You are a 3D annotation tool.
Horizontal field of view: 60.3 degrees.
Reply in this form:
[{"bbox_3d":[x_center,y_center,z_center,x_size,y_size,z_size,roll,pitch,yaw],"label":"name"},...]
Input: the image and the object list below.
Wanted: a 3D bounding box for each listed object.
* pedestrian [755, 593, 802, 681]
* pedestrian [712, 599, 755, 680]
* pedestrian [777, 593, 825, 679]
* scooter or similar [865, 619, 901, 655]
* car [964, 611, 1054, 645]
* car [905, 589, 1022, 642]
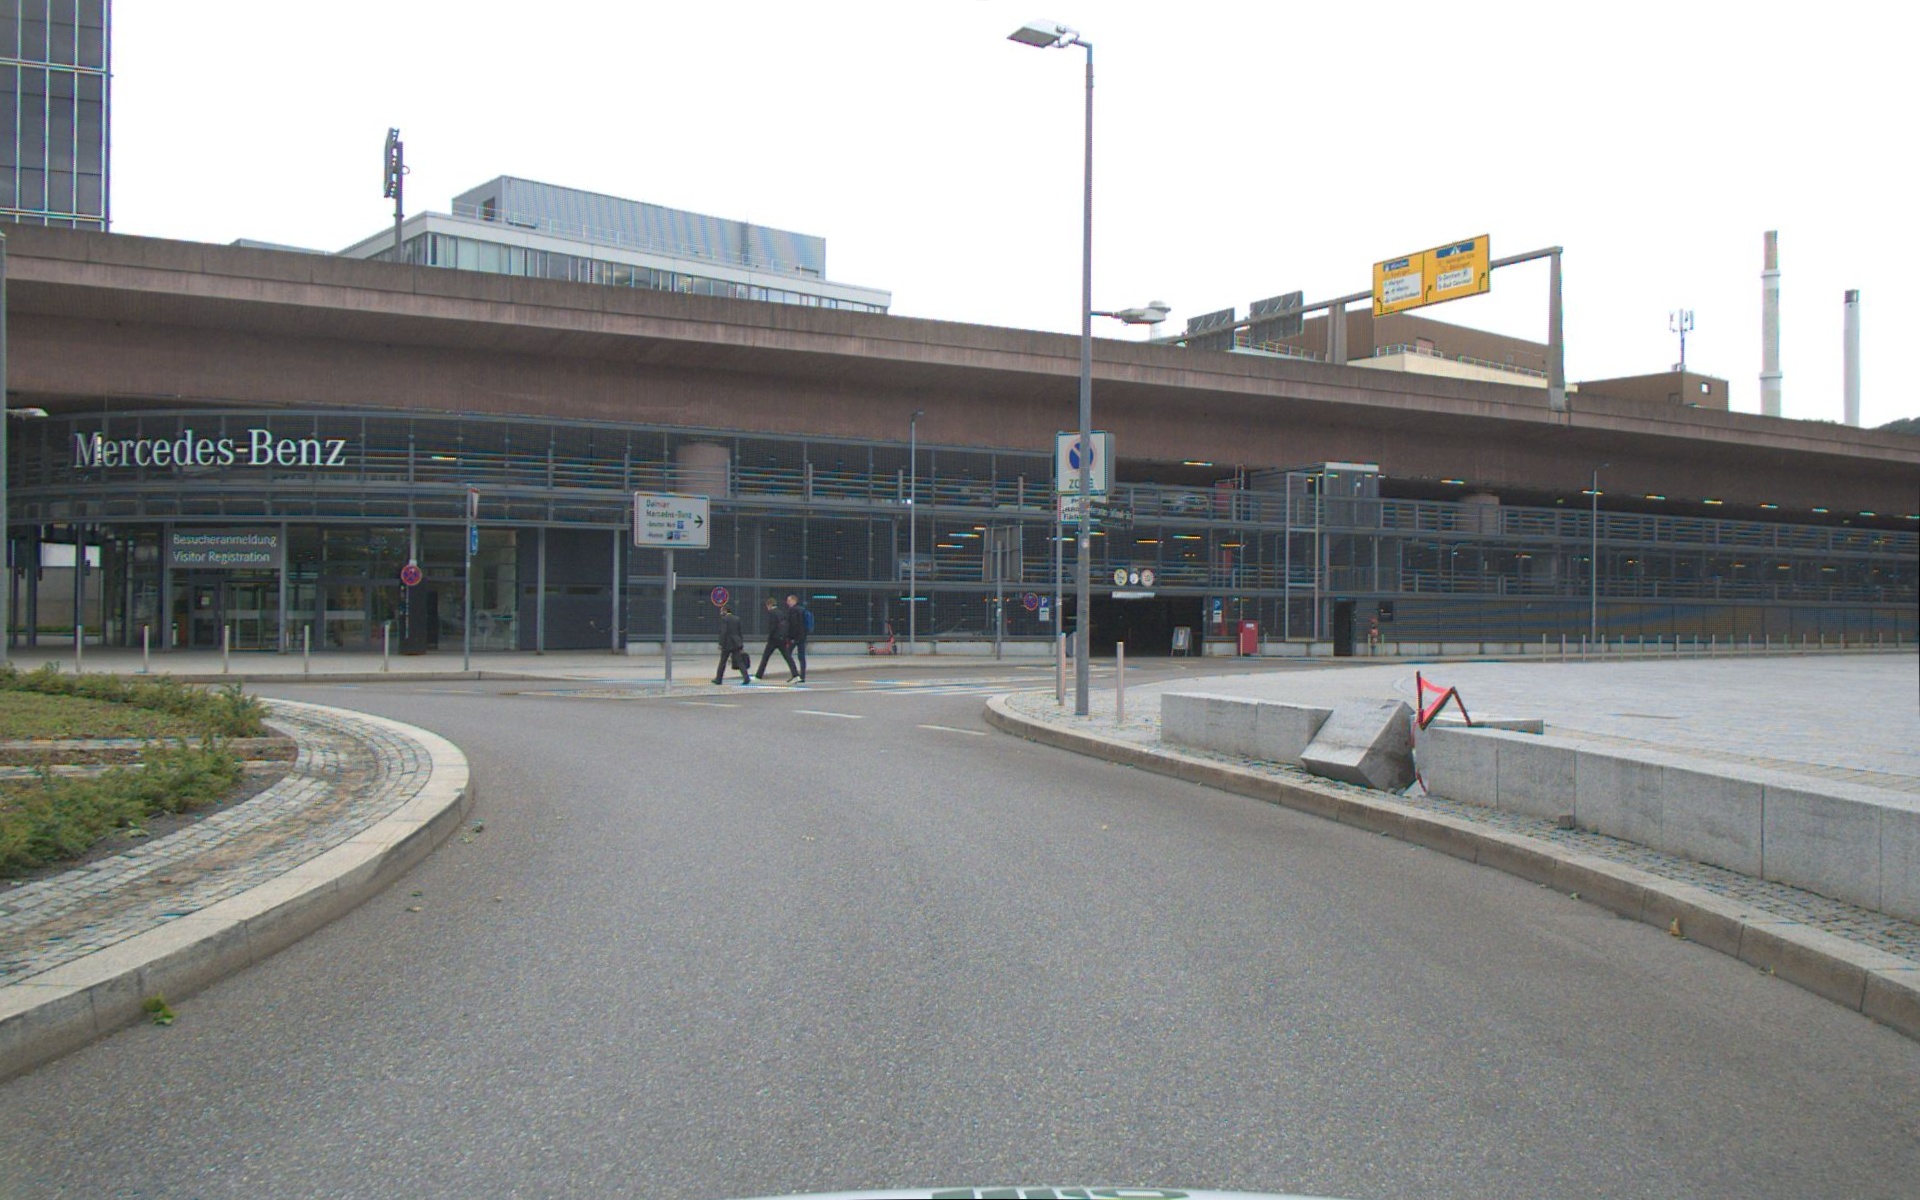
[{"bbox_3d":[-3.736,0.766,33.974,0.818,1.771,0.687,1,-2,-17],"label":"pedestrian"},{"bbox_3d":[-4.542,0.796,33.275,0.815,1.598,0.689,1,-2,-7],"label":"pedestrian"},{"bbox_3d":[-3.336,0.759,34.657,0.819,1.771,0.686,1,-2,-21],"label":"pedestrian"},{"bbox_3d":[-2.643,1.284,56.760,1.217,1.215,0.352,2,-2,-30],"label":"scooter or similar"},{"bbox_3d":[2.405,1.365,80.351,3.942,1.601,1.981,1,-1,-29],"label":"car"},{"bbox_3d":[0.144,0.587,61.792,3.942,1.937,1.981,1,-1,-29],"label":"car"}]
